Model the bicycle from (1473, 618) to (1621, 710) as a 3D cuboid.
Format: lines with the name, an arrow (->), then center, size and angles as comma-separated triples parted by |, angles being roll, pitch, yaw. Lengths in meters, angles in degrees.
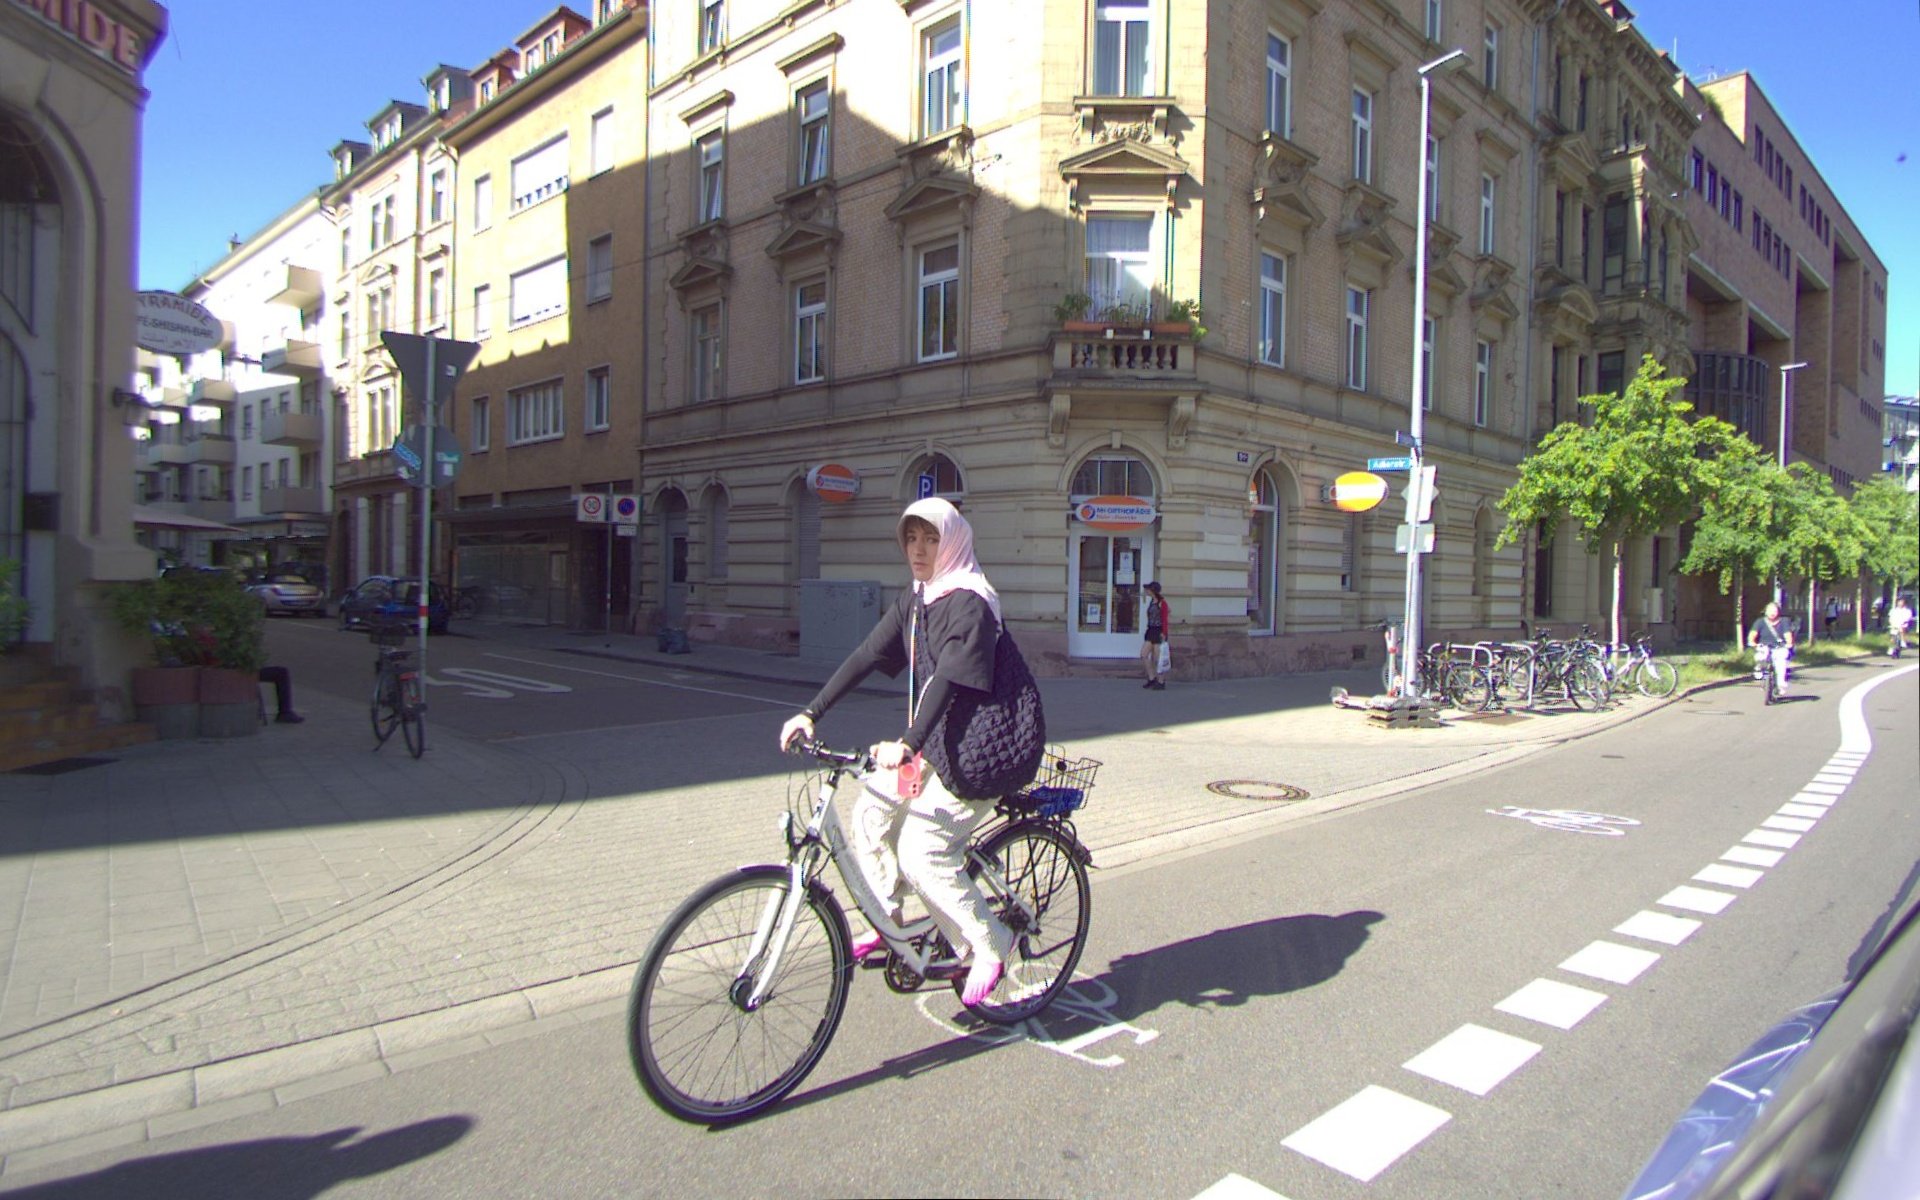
bicycle -> 8.513, 0.893, 14.745 | 0.595, 1.114, 1.729 | 1, 3, -37

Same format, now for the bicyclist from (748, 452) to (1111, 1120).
bicyclist -> -0.102, 0.483, 3.213 | 0.853, 1.733, 0.780 | 1, -1, -41

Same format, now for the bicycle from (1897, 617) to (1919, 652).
bicycle -> 31.141, 1.111, 33.037 | 1.480, 1.110, 0.578 | 0, -1, -39

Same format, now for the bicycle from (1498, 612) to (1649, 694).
bicycle -> 10.280, 0.858, 17.025 | 0.697, 1.142, 2.001 | 1, 3, -39

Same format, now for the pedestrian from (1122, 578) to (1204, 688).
pedestrian -> 2.982, 0.464, 14.870 | 0.908, 1.561, 0.712 | 1, 1, -29

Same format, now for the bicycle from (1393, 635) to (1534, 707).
bicycle -> 7.045, 0.965, 14.238 | 0.595, 0.831, 1.677 | 1, 2, -33

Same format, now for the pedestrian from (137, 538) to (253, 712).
pedestrian -> -8.288, 0.253, 10.969 | 0.906, 1.783, 0.854 | 0, 0, 43

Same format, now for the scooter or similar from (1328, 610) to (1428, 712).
scooter or similar -> 5.375, 0.761, 13.061 | 0.411, 1.204, 1.115 | 1, 1, -33

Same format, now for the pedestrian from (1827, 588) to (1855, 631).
pedestrian -> 39.825, 0.429, 45.747 | 1.087, 1.906, 0.789 | 0, 1, -41

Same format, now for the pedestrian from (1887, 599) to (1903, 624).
pedestrian -> 56.340, 0.679, 60.978 | 0.723, 1.505, 0.633 | 0, 1, -41

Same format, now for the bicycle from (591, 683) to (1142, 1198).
bicycle -> -0.199, 0.881, 3.225 | 1.761, 1.106, 0.558 | 0, -1, -42

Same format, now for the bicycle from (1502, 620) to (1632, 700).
bicycle -> 9.522, 0.918, 15.921 | 0.595, 1.058, 1.605 | 1, 3, -37

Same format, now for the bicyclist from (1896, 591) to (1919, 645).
bicyclist -> 31.208, 0.593, 33.108 | 0.892, 1.751, 0.684 | 1, -1, -38

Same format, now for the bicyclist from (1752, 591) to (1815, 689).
bicyclist -> 13.650, 0.645, 16.773 | 0.893, 1.557, 0.658 | 1, -1, -41

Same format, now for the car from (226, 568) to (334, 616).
car -> -21.380, -0.266, 31.765 | 3.983, 1.351, 1.775 | 2, -1, 40

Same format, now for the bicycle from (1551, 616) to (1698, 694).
bicycle -> 11.493, 0.921, 17.537 | 1.993, 1.106, 0.835 | 5, 3, 40

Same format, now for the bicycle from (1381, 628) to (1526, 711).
bicycle -> 6.641, 0.904, 13.702 | 0.595, 0.955, 1.677 | 1, 1, -33

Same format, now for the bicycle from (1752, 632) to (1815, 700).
bicycle -> 13.629, 1.075, 16.735 | 1.481, 1.040, 0.558 | 0, -1, -41

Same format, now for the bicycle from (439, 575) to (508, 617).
bicycle -> -14.321, -0.130, 29.787 | 1.988, 1.193, 0.629 | 1, 1, 19

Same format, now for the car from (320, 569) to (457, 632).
car -> -14.715, -0.004, 25.981 | 3.983, 1.438, 1.775 | 2, -1, 40

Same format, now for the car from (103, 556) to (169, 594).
car -> -37.562, -1.148, 46.115 | 3.758, 1.686, 1.775 | 2, 1, 42

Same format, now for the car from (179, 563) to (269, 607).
car -> -26.040, -0.543, 35.766 | 3.757, 1.450, 1.776 | 2, 1, 40

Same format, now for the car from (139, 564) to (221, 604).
car -> -30.115, -0.644, 39.055 | 3.757, 1.450, 1.776 | 2, 1, 40

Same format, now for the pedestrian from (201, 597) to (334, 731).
pedestrian -> -6.807, 0.591, 9.956 | 0.849, 1.229, 0.920 | 0, 0, 43

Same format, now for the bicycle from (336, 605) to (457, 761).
bicycle -> -5.031, 0.685, 8.975 | 0.641, 1.186, 1.823 | 5, -1, -36
